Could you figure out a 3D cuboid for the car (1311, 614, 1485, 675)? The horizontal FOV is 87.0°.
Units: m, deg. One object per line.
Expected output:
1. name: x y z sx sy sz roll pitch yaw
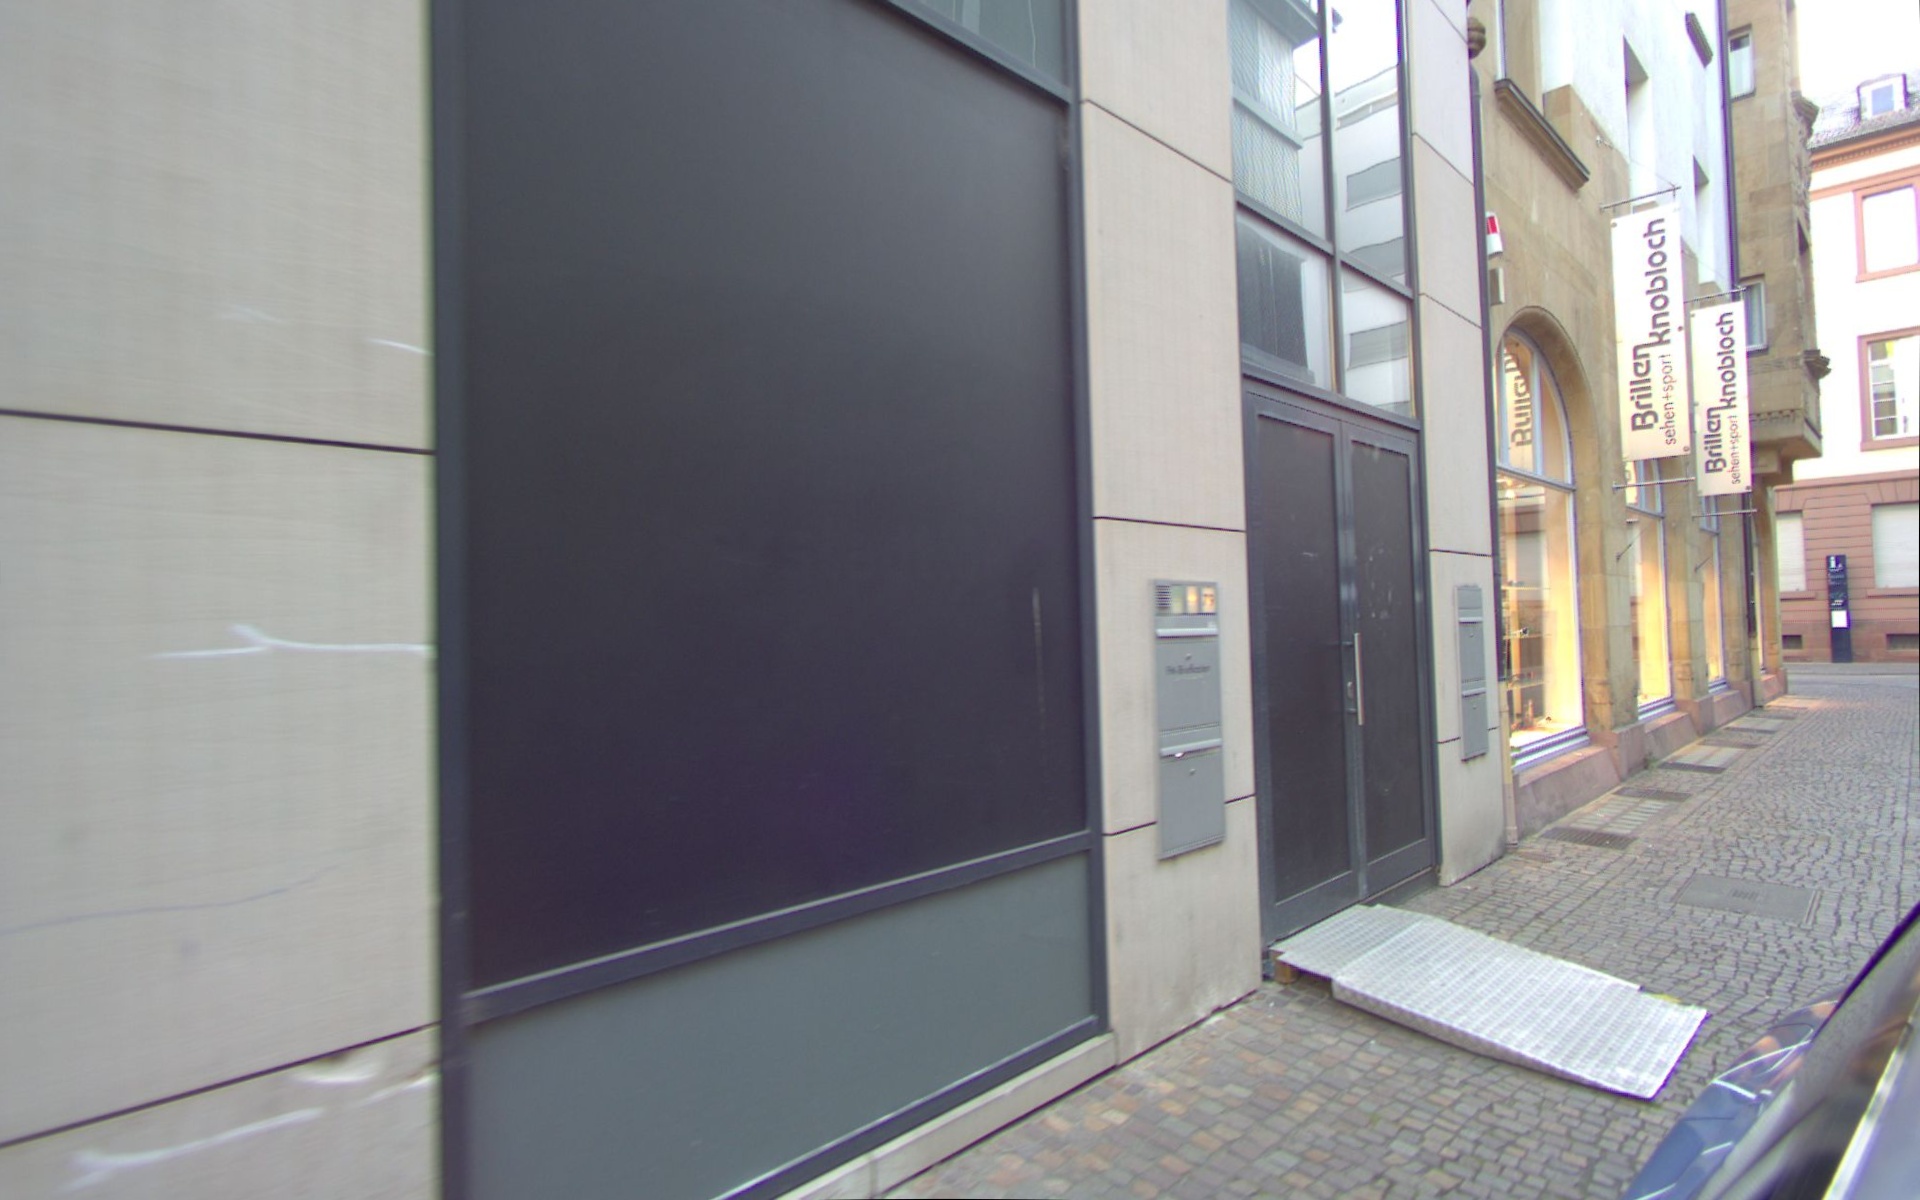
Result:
1. car: 11.873 1.211 27.595 1.623 1.460 3.990 -3 0 -43
